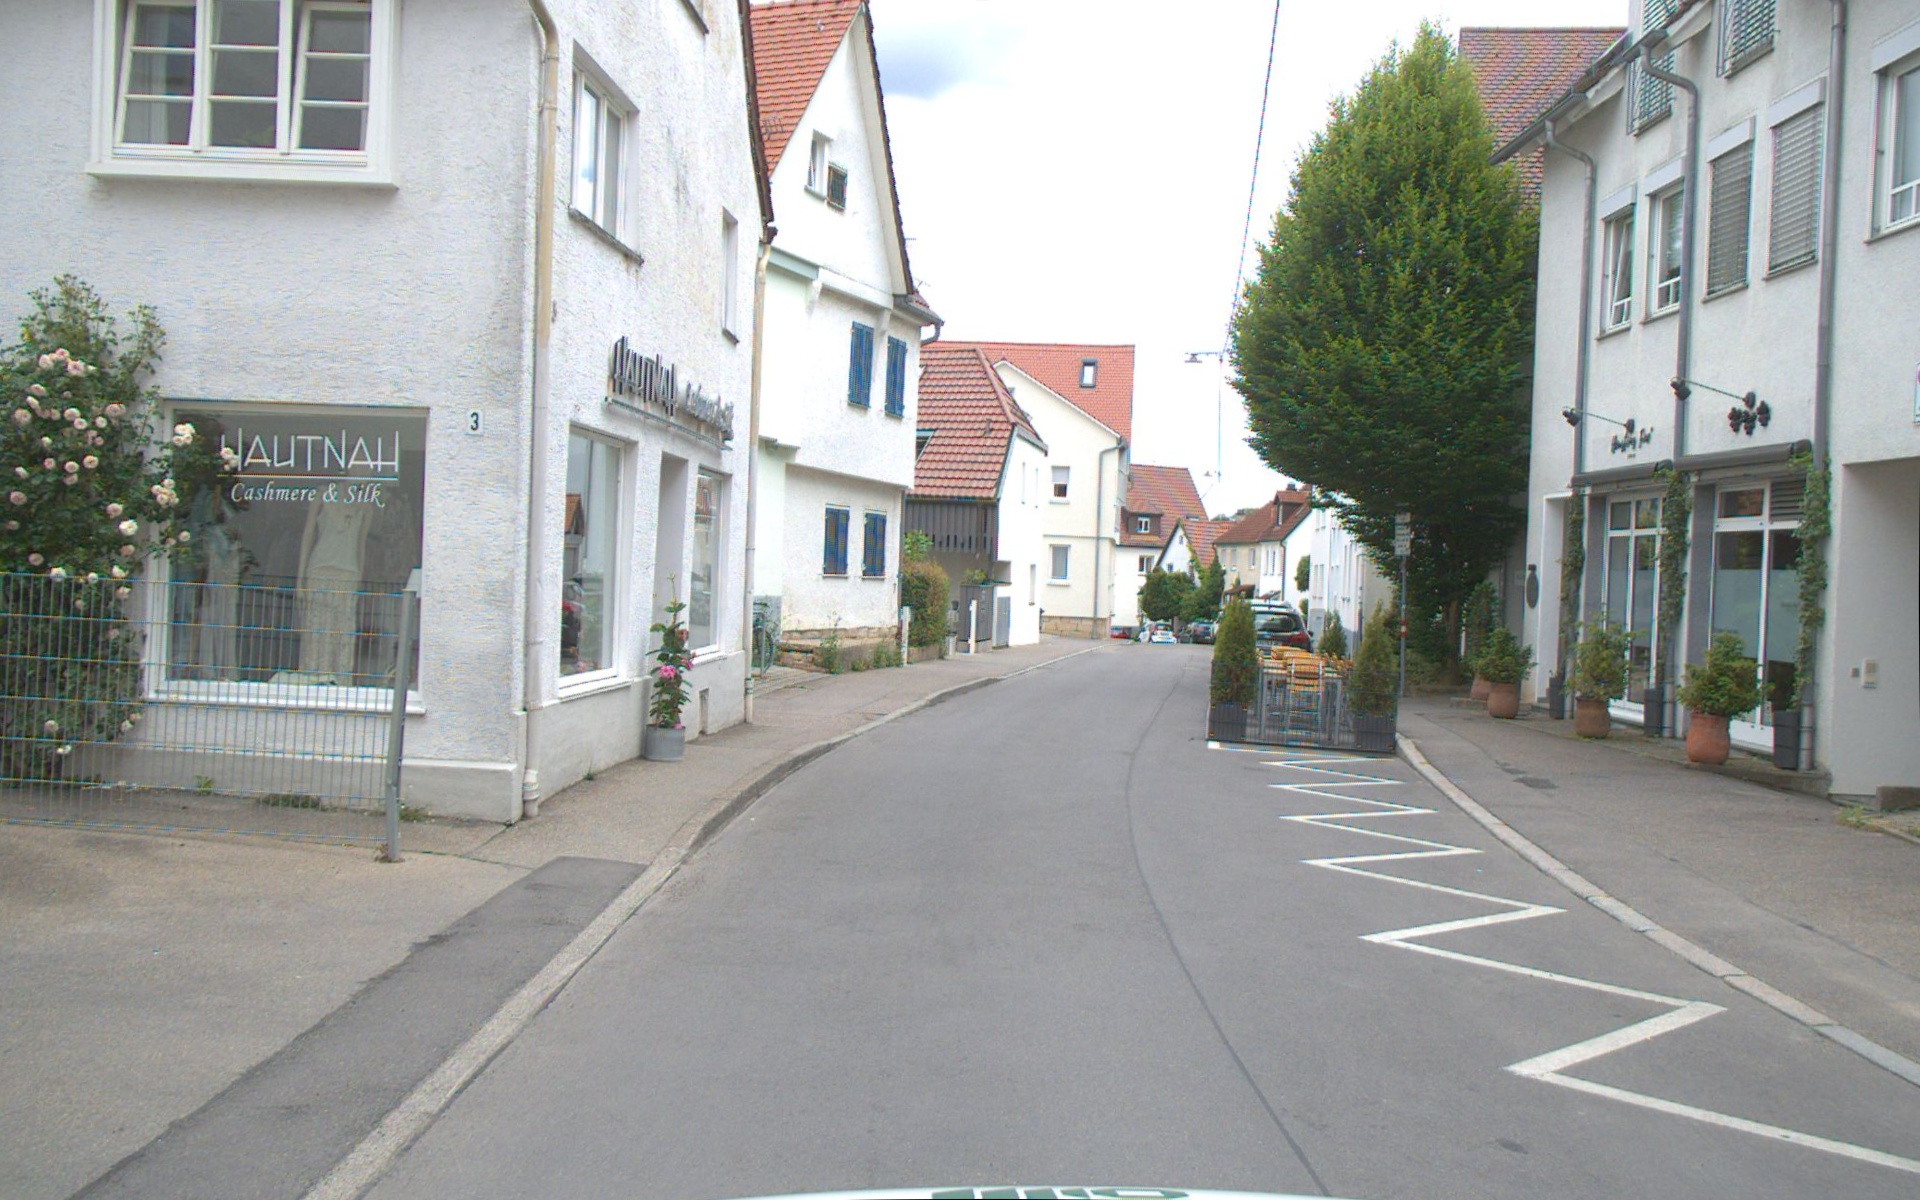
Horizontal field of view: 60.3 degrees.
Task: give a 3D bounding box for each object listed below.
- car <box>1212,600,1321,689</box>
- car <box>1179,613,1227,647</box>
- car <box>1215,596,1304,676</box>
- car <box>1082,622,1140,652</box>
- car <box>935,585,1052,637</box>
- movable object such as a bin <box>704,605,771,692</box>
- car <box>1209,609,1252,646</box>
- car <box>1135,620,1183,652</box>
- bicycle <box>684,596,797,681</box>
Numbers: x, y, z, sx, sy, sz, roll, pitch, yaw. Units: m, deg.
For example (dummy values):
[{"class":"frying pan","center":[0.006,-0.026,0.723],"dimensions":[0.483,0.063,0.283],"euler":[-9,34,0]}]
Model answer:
[{"class":"car","center":[6.043,0.823,32.767],"dimensions":[1.907,1.534,4.824],"euler":[3,0,10]},{"class":"car","center":[13.712,1.719,93.469],"dimensions":[1.954,1.743,3.997],"euler":[2,-3,-3]},{"class":"car","center":[6.942,0.813,38.686],"dimensions":[1.823,1.662,4.905],"euler":[2,0,8]},{"class":"car","center":[9.873,2.438,108.614],"dimensions":[1.969,1.713,3.967],"euler":[-3,-1,-25]},{"class":"car","center":[1.202,0.390,58.002],"dimensions":[3.653,1.436,2.122],"euler":[5,-1,14]},{"class":"movable object such as a bin","center":[-2.850,0.616,21.185],"dimensions":[0.542,1.016,0.587],"euler":[8,4,19]},{"class":"car","center":[13.474,1.392,82.614],"dimensions":[1.833,1.743,4.150],"euler":[2,-1,6]},{"class":"car","center":[12.334,2.229,102.833],"dimensions":[1.926,1.743,3.992],"euler":[3,0,-9]},{"class":"bicycle","center":[-2.950,0.505,22.460],"dimensions":[0.434,1.056,2.092],"euler":[7,2,23]}]
